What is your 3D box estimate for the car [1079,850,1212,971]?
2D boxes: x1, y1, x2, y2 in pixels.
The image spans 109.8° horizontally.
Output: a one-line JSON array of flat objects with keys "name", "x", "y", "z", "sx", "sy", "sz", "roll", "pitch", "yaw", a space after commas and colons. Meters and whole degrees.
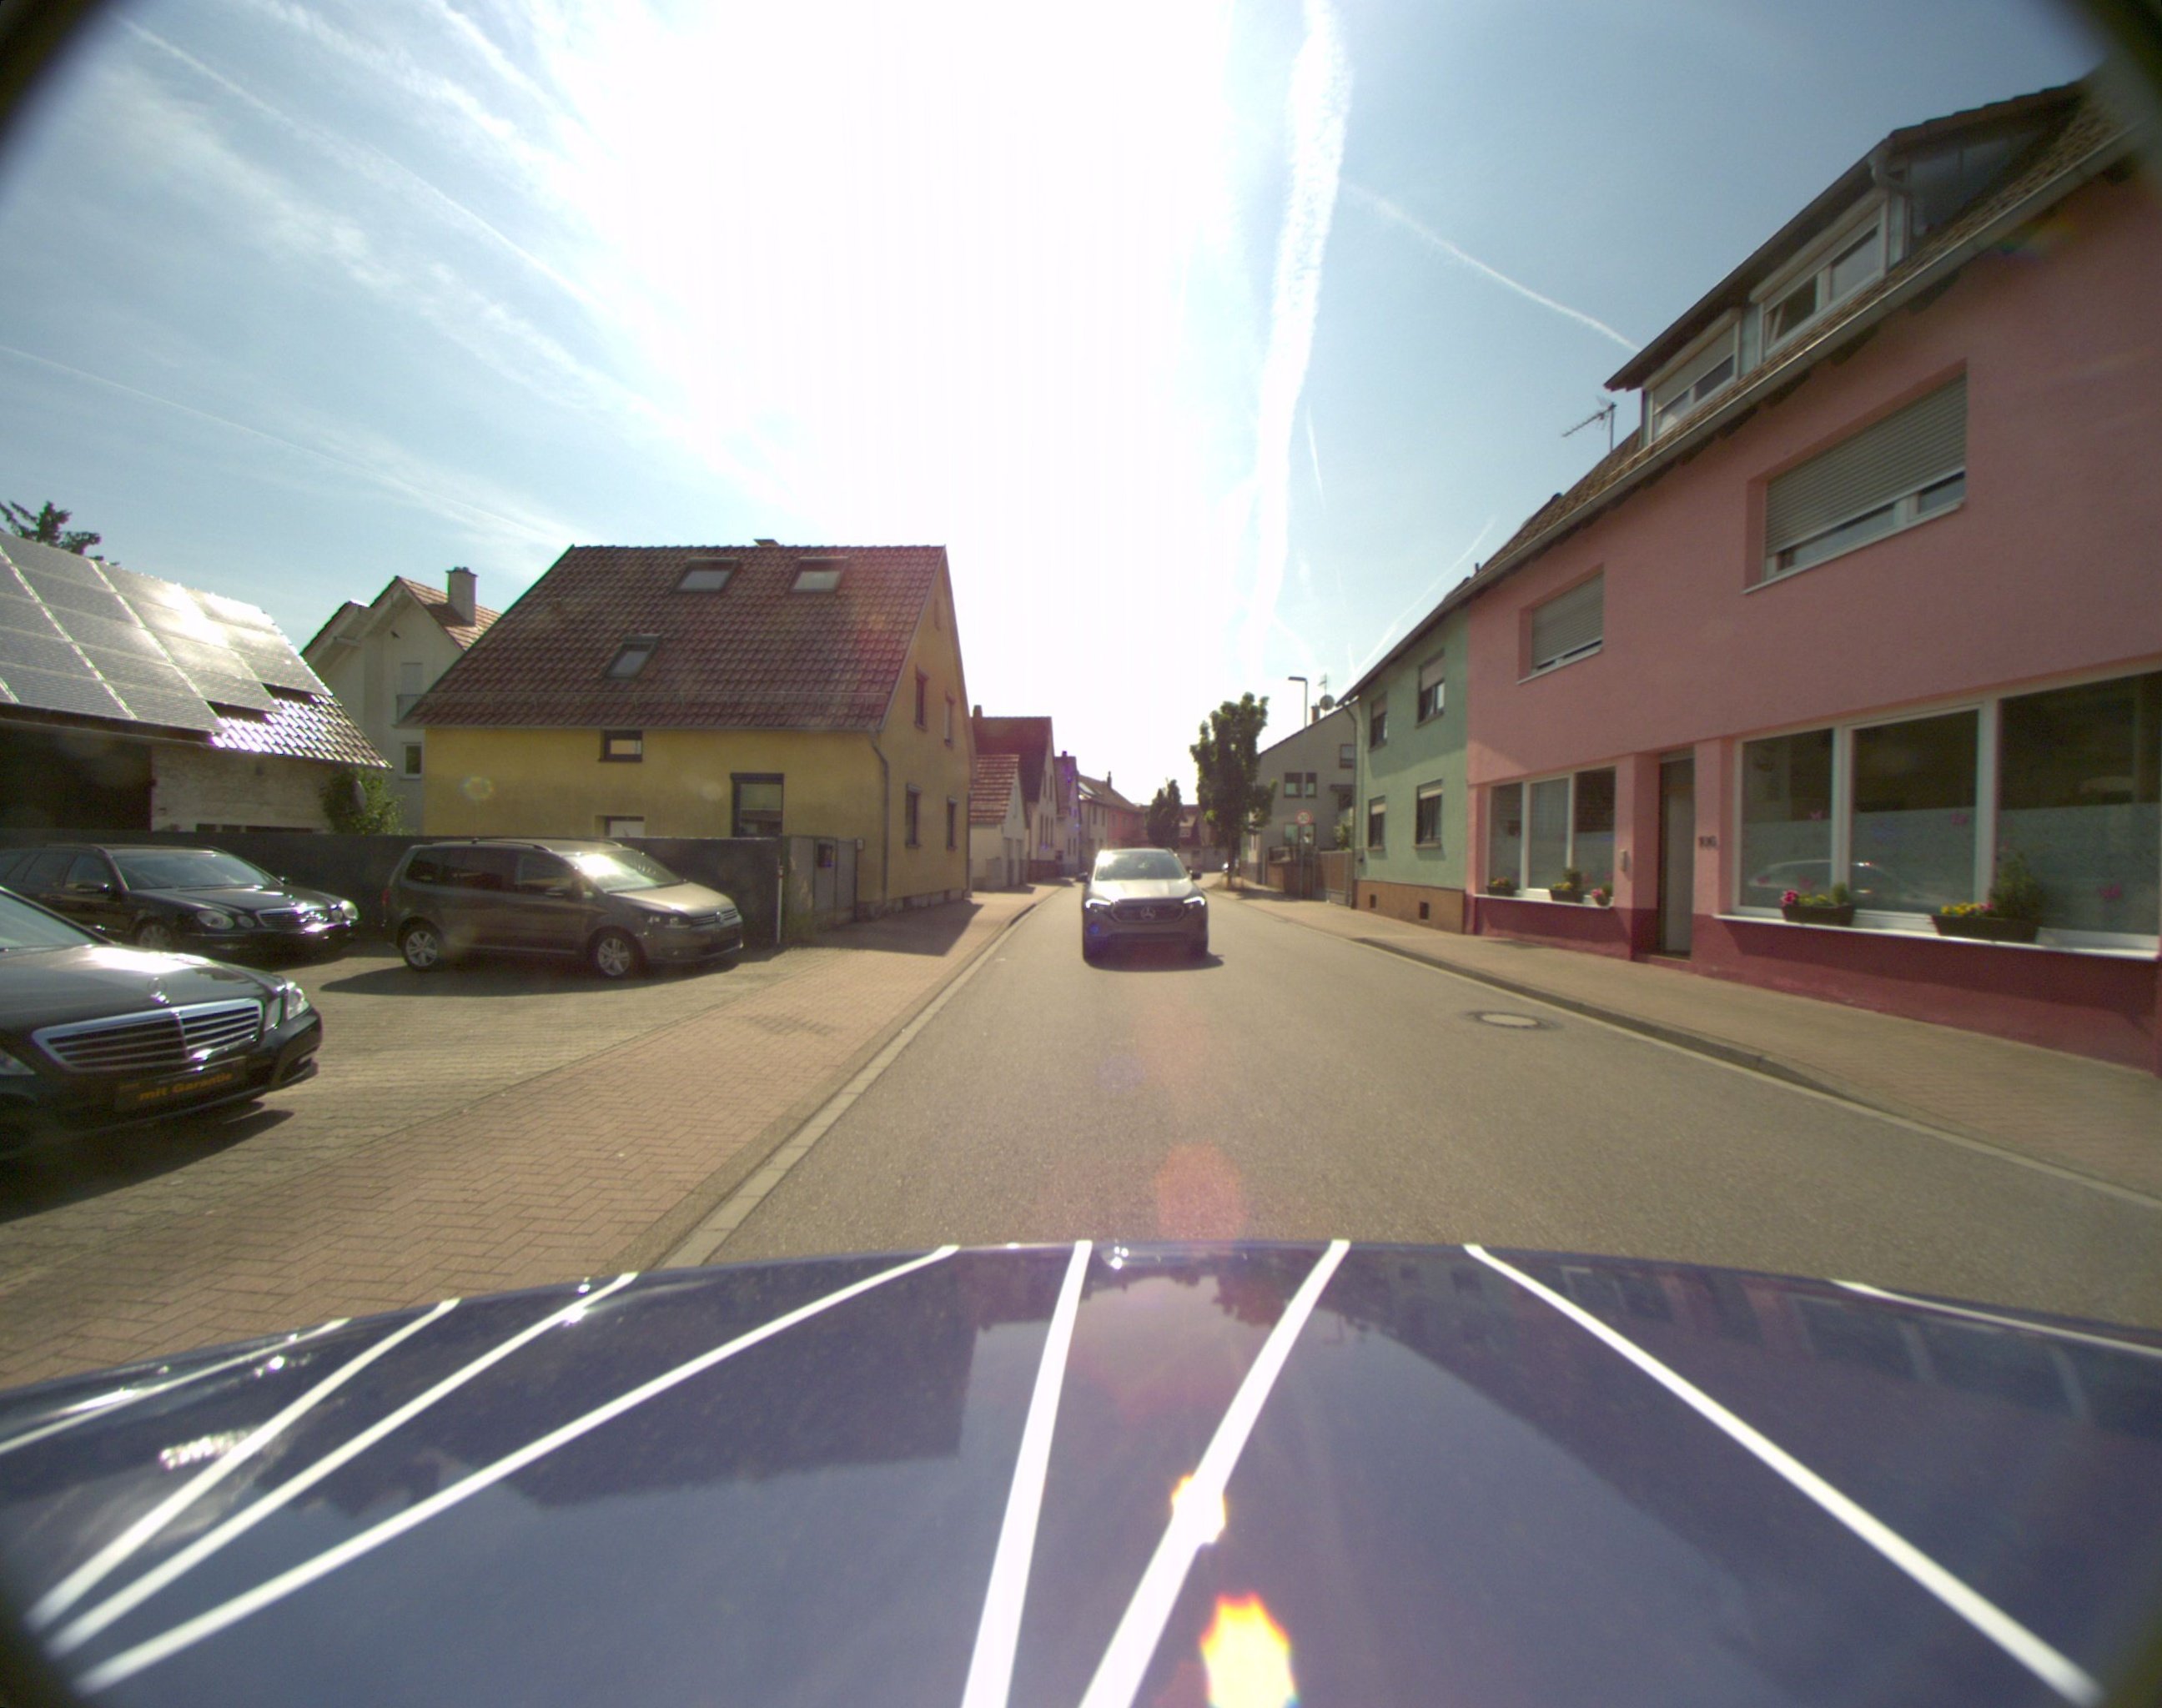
[{"name": "car", "x": 0.921, "y": 0.747, "z": 12.313, "sx": 1.737, "sy": 1.564, "sz": 4.290, "roll": -2, "pitch": 1, "yaw": 2}]

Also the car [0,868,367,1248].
[{"name": "car", "x": -6.623, "y": 0.837, "z": 3.709, "sx": 4.645, "sy": 1.489, "sz": 1.911, "roll": 0, "pitch": 1, "yaw": 4}]

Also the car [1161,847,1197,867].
[{"name": "car", "x": 9.813, "y": 0.283, "z": 75.721, "sx": 1.944, "sy": 1.842, "sz": 4.517, "roll": -1, "pitch": 2, "yaw": 31}]

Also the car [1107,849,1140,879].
[{"name": "car", "x": 2.608, "y": 0.564, "z": 46.079, "sx": 1.791, "sy": 1.643, "sz": 4.394, "roll": 0, "pitch": 2, "yaw": 6}]

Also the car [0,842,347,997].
[{"name": "car", "x": -12.057, "y": 0.672, "z": 9.438, "sx": 4.547, "sy": 1.499, "sz": 1.989, "roll": 2, "pitch": 2, "yaw": 12}]

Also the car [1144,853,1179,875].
[{"name": "car", "x": 6.661, "y": 0.780, "z": 62.662, "sx": 1.803, "sy": 1.617, "sz": 4.129, "roll": -1, "pitch": 1, "yaw": 22}]

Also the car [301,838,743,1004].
[{"name": "car", "x": -6.637, "y": 0.698, "z": 9.258, "sx": 4.336, "sy": 1.736, "sz": 1.738, "roll": 1, "pitch": 1, "yaw": 8}]

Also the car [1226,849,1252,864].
[{"name": "car", "x": 16.776, "y": 0.238, "z": 80.680, "sx": 1.515, "sy": 1.401, "sz": 3.596, "roll": -1, "pitch": 2, "yaw": 31}]
